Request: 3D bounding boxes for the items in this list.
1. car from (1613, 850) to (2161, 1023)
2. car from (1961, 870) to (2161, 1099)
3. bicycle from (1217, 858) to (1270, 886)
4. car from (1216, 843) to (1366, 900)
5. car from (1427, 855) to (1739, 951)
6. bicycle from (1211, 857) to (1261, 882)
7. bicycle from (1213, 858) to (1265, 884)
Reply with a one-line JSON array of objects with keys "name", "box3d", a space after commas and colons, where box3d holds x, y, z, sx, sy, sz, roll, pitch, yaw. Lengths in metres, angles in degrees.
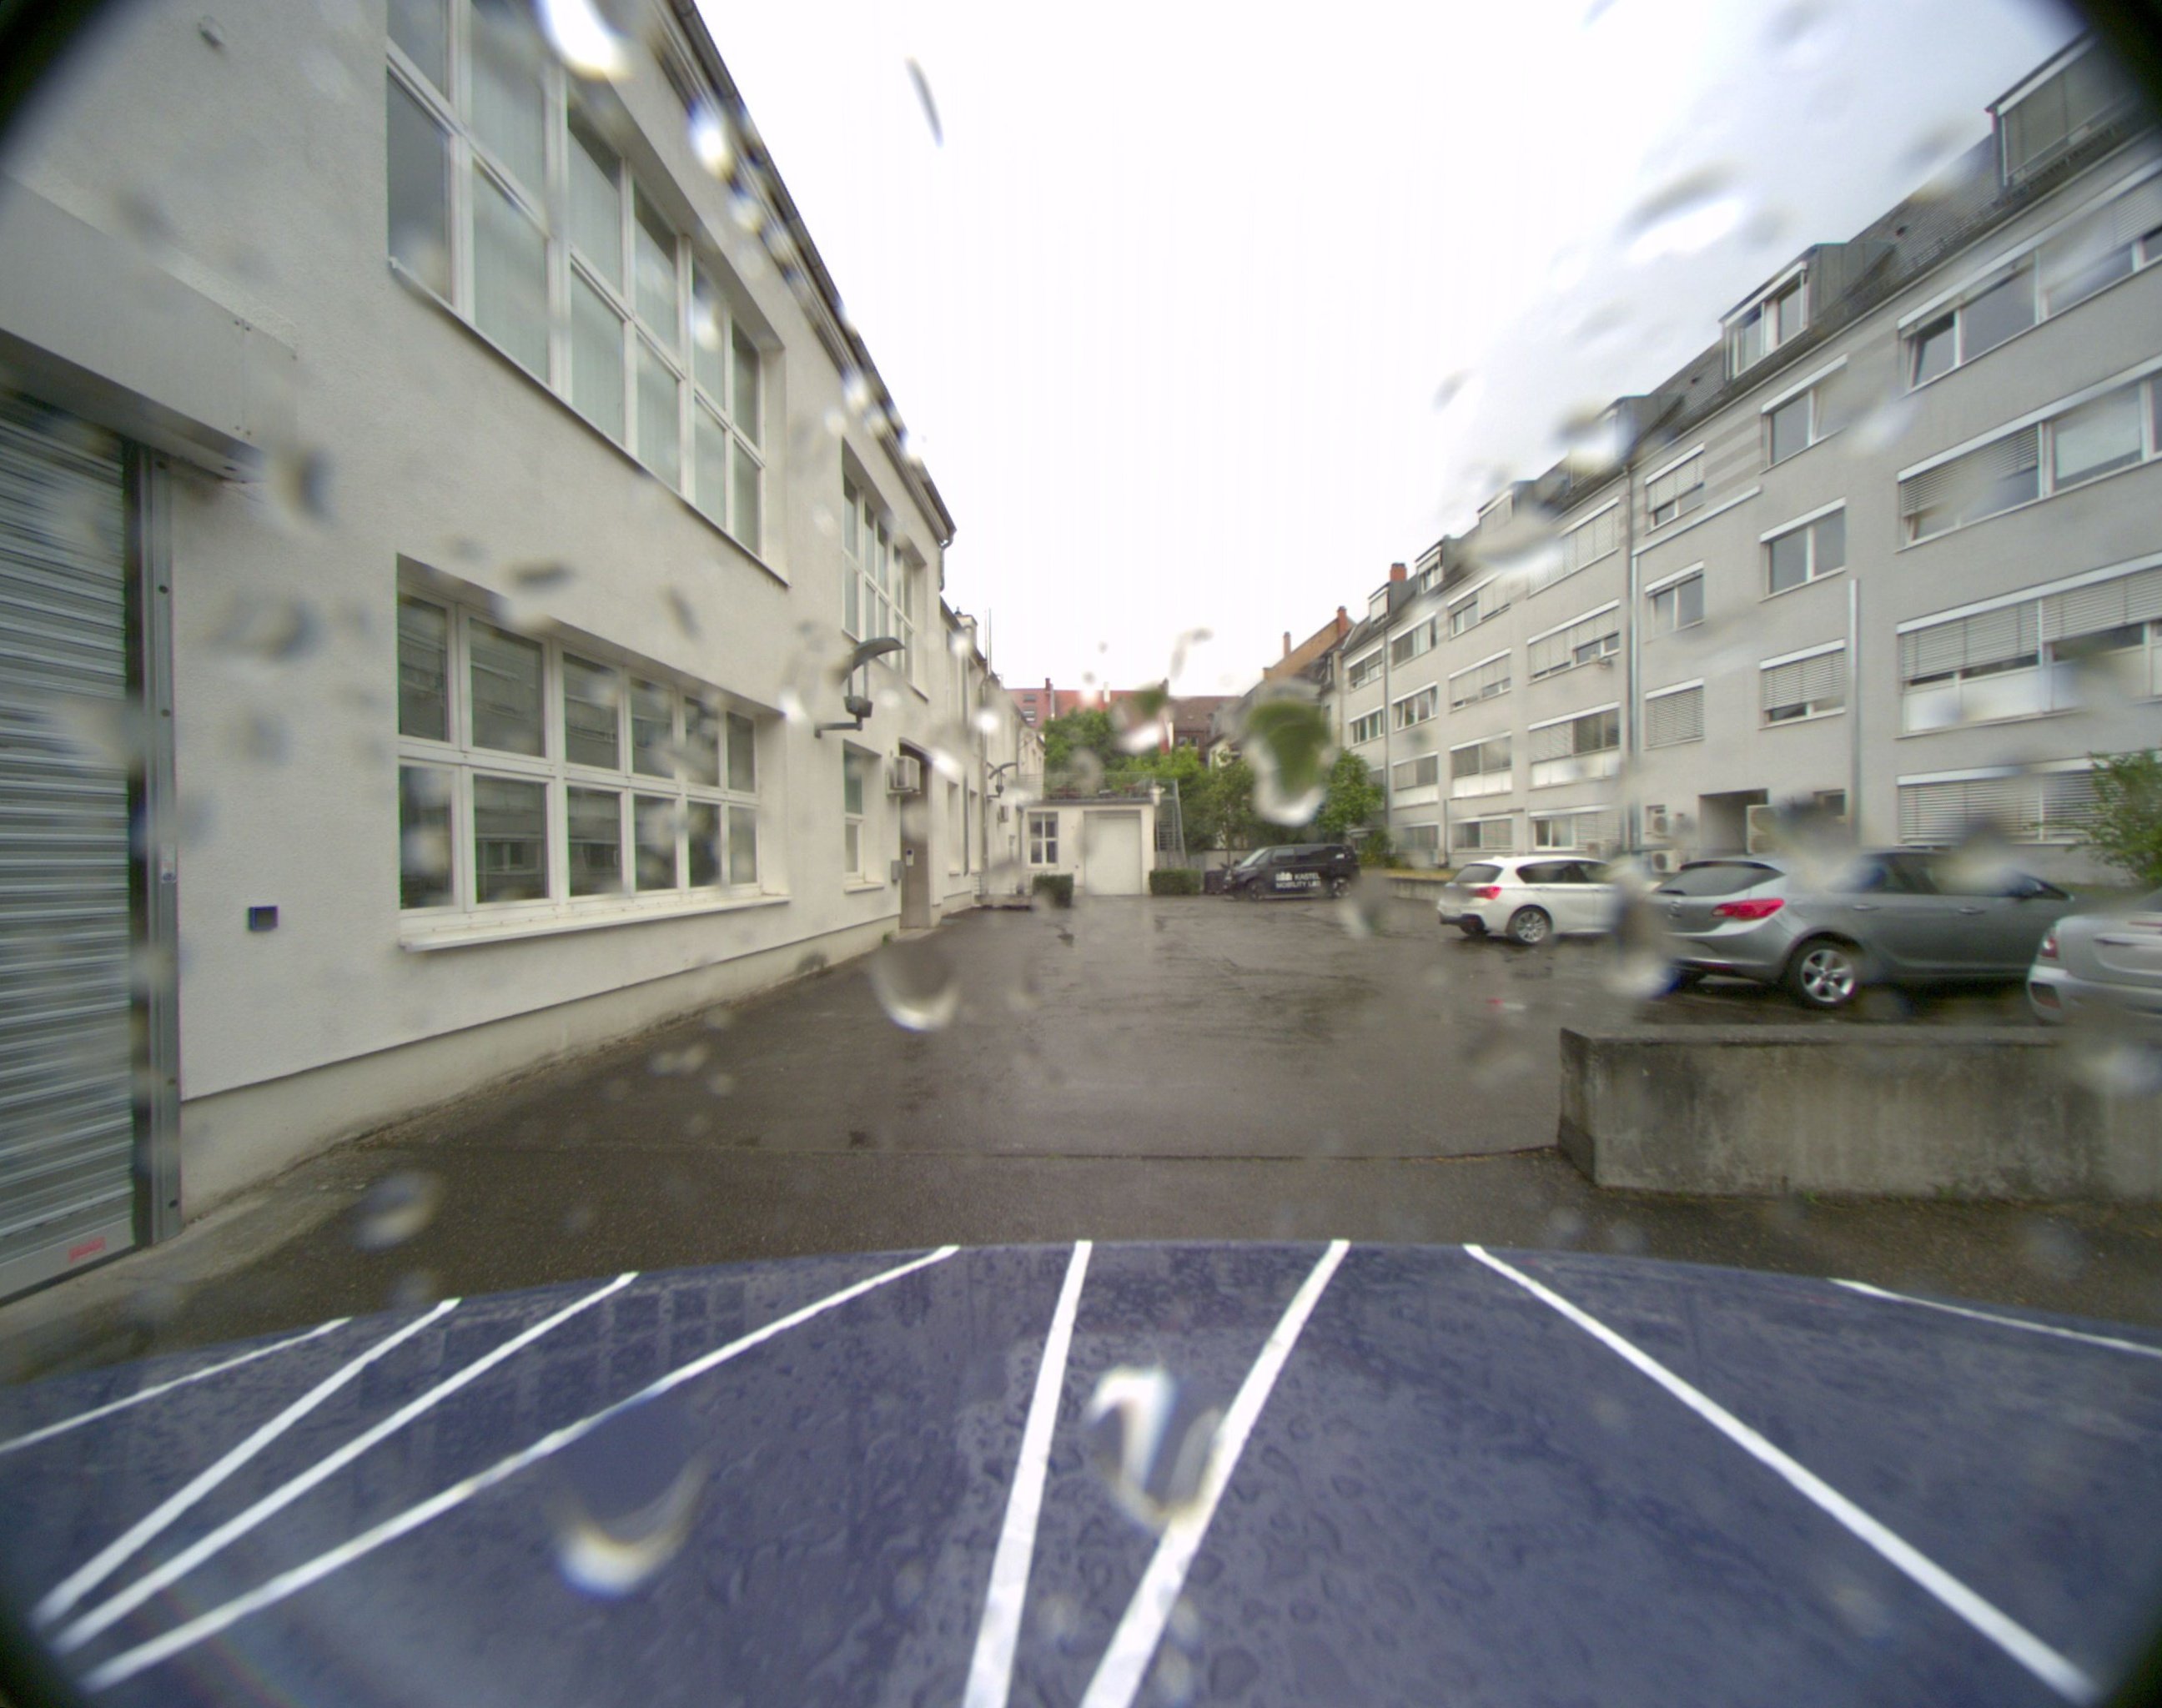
[{"name": "car", "box3d": [8.096, 0.734, 7.684, 4.176, 1.475, 1.822, -1, 0, -1]}, {"name": "car", "box3d": [8.744, 0.743, 4.811, 4.176, 1.325, 1.822, -3, 0, 0]}, {"name": "bicycle", "box3d": [7.518, 0.830, 35.215, 2.318, 1.180, 0.643, -1, 3, 4]}, {"name": "car", "box3d": [7.305, 0.604, 26.704, 4.629, 1.825, 1.988, -1, -1, -4]}, {"name": "car", "box3d": [8.327, 0.774, 12.854, 4.150, 1.425, 1.753, -1, 1, -1]}, {"name": "bicycle", "box3d": [7.586, 0.749, 37.179, 2.318, 1.180, 0.643, -1, 3, 4]}, {"name": "bicycle", "box3d": [7.483, 0.798, 36.016, 2.318, 1.180, 0.643, -1, 3, 4]}]
